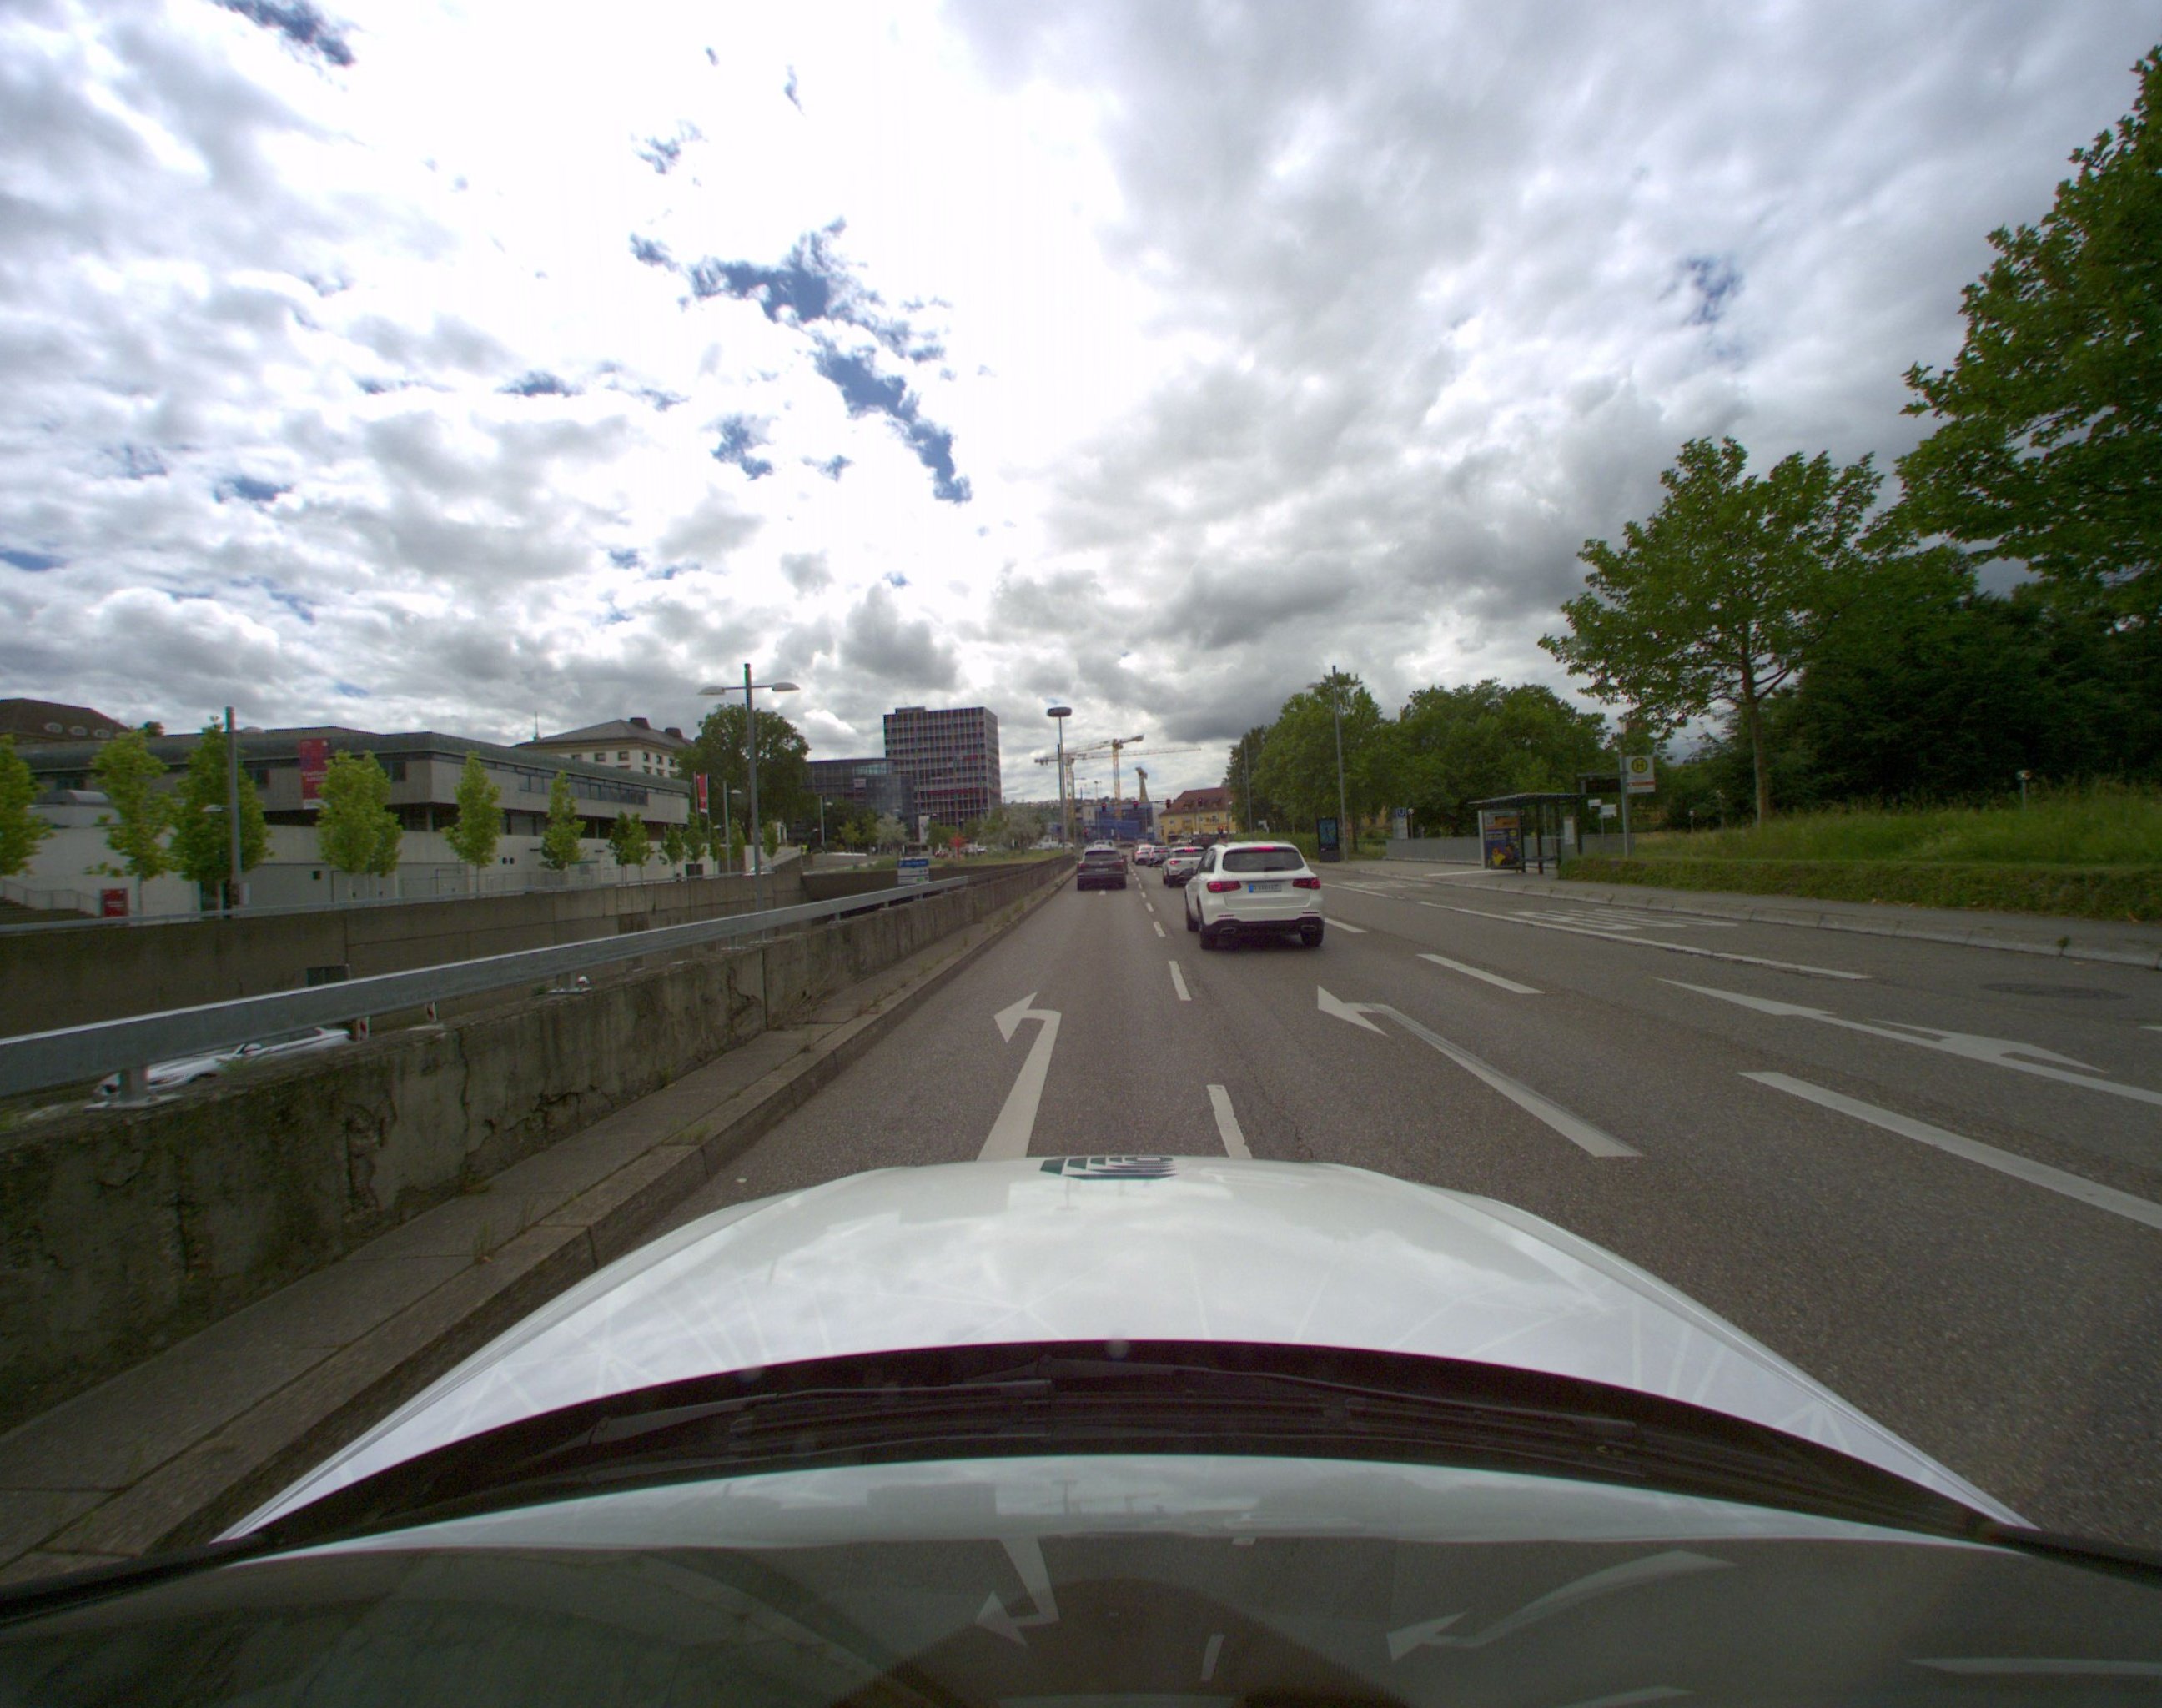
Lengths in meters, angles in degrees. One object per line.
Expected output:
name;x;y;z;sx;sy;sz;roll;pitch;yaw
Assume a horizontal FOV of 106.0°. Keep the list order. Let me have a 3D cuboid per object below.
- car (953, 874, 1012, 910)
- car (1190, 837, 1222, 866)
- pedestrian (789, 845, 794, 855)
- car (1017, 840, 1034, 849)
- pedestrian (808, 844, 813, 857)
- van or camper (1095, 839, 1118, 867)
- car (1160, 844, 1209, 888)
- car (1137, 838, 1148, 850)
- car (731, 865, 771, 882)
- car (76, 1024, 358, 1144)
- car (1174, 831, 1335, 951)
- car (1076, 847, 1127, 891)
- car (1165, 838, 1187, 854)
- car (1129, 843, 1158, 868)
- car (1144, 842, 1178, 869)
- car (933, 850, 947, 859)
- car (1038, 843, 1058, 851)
car;-3.969;1.523;33.493;1.712;1.292;4.003;-1;0;3
car;9.067;-0.203;59.415;1.781;2.013;4.002;-2;0;2
pedestrian;-53.366;-0.772;149.895;0.636;1.729;0.695;-1;-1;2
car;-13.329;-2.323;195.614;3.994;2.014;1.990;-1;-1;-15
pedestrian;-37.682;-0.511;113.527;0.641;1.729;0.690;0;-1;-21
van or camper;2.334;-0.053;73.830;1.915;2.320;4.001;-2;-2;2
car;4.163;0.421;33.175;1.665;1.627;4.004;-1;1;3
car;11.112;-1.784;146.727;1.793;2.014;4.001;-1;-1;2
car;-28.271;1.647;69.880;1.803;1.427;3.708;-1;-1;1
car;-19.058;5.007;18.310;1.742;1.486;4.217;0;0;2
car;2.700;0.562;13.640;1.933;1.684;4.001;-1;-1;2
car;0.861;0.573;33.402;1.915;1.602;4.002;-2;0;2
car;9.435;-0.761;81.302;1.713;1.584;4.000;-1;0;1
car;4.655;0.161;61.192;1.986;1.781;4.001;-1;-1;2
car;5.324;0.125;54.345;1.986;1.662;4.001;-1;-1;2
car;-25.835;0.142;149.555;1.860;1.618;3.482;-1;-1;2
car;-8.500;-1.787;211.450;5.220;2.060;1.885;-1;-1;38
